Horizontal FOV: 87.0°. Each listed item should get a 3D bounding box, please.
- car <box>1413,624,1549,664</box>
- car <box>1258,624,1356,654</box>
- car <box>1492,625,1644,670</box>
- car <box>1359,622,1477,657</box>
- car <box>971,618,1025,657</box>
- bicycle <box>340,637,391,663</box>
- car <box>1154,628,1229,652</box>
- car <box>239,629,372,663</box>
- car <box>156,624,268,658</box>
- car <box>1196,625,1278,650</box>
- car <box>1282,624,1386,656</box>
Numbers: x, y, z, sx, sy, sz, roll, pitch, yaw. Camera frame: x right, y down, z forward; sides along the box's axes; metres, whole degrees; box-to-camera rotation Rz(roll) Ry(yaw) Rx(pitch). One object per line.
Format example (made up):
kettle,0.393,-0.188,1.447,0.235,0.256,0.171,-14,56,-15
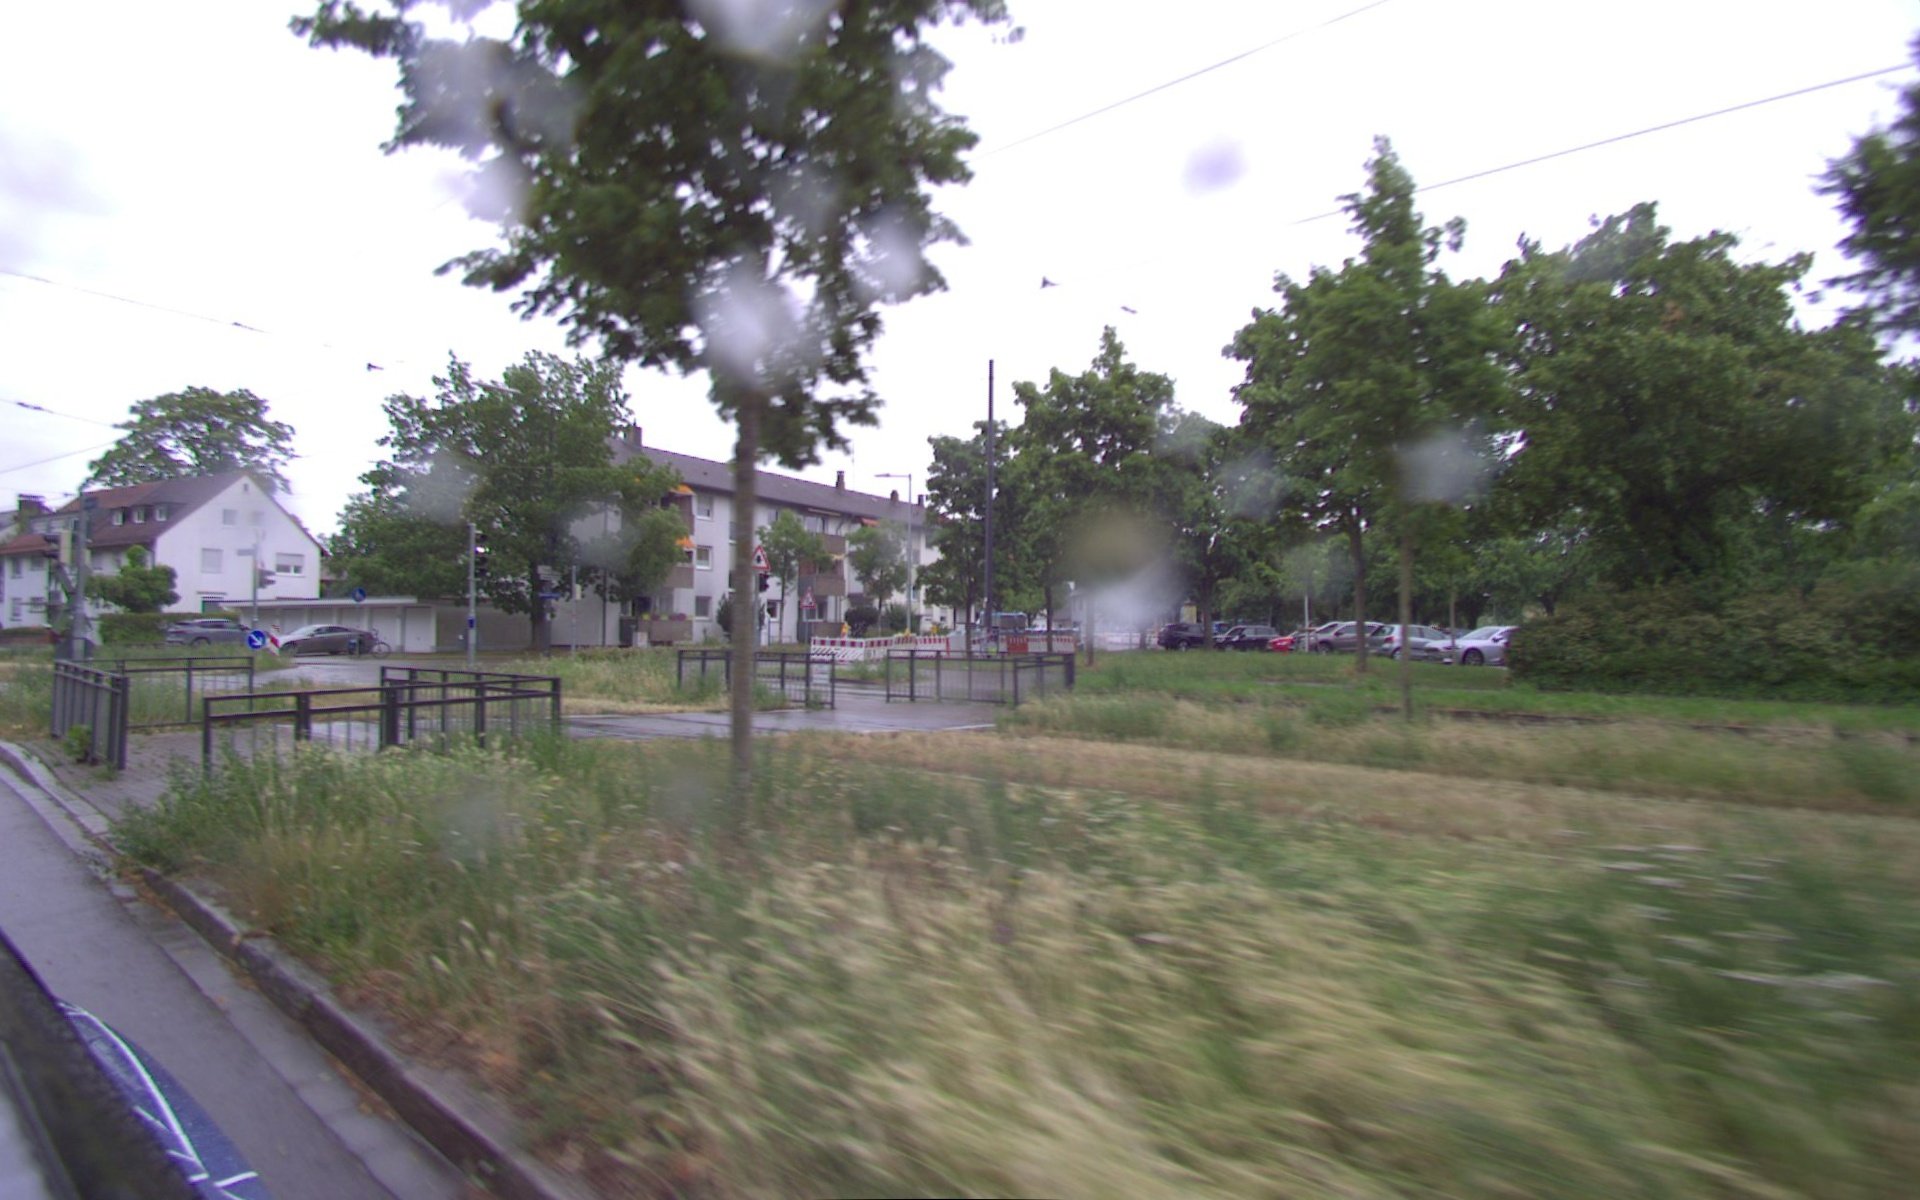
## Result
car,16.949,1.436,32.983,3.680,1.258,1.669,1,-2,-13
car,15.240,1.734,44.524,3.681,1.258,1.669,1,-2,-10
car,17.966,1.403,29.954,3.680,1.258,1.669,1,-2,-13
car,17.145,1.476,37.952,3.681,1.258,1.669,1,-2,-10
car,2.591,2.528,67.799,1.908,2.465,4.428,-1,-3,28
bicycle,-24.516,2.053,41.744,1.818,1.027,0.481,-1,1,4
car,12.909,2.238,56.566,3.681,1.258,1.669,1,-2,-10
car,-29.153,1.999,45.238,1.841,1.376,4.692,-1,-1,30
car,-36.305,1.992,49.231,1.883,1.588,3.963,-1,-2,27
car,14.192,1.937,51.987,3.681,1.258,1.669,1,-2,-10
car,15.454,1.652,41.925,3.681,1.258,1.669,1,-2,-10
